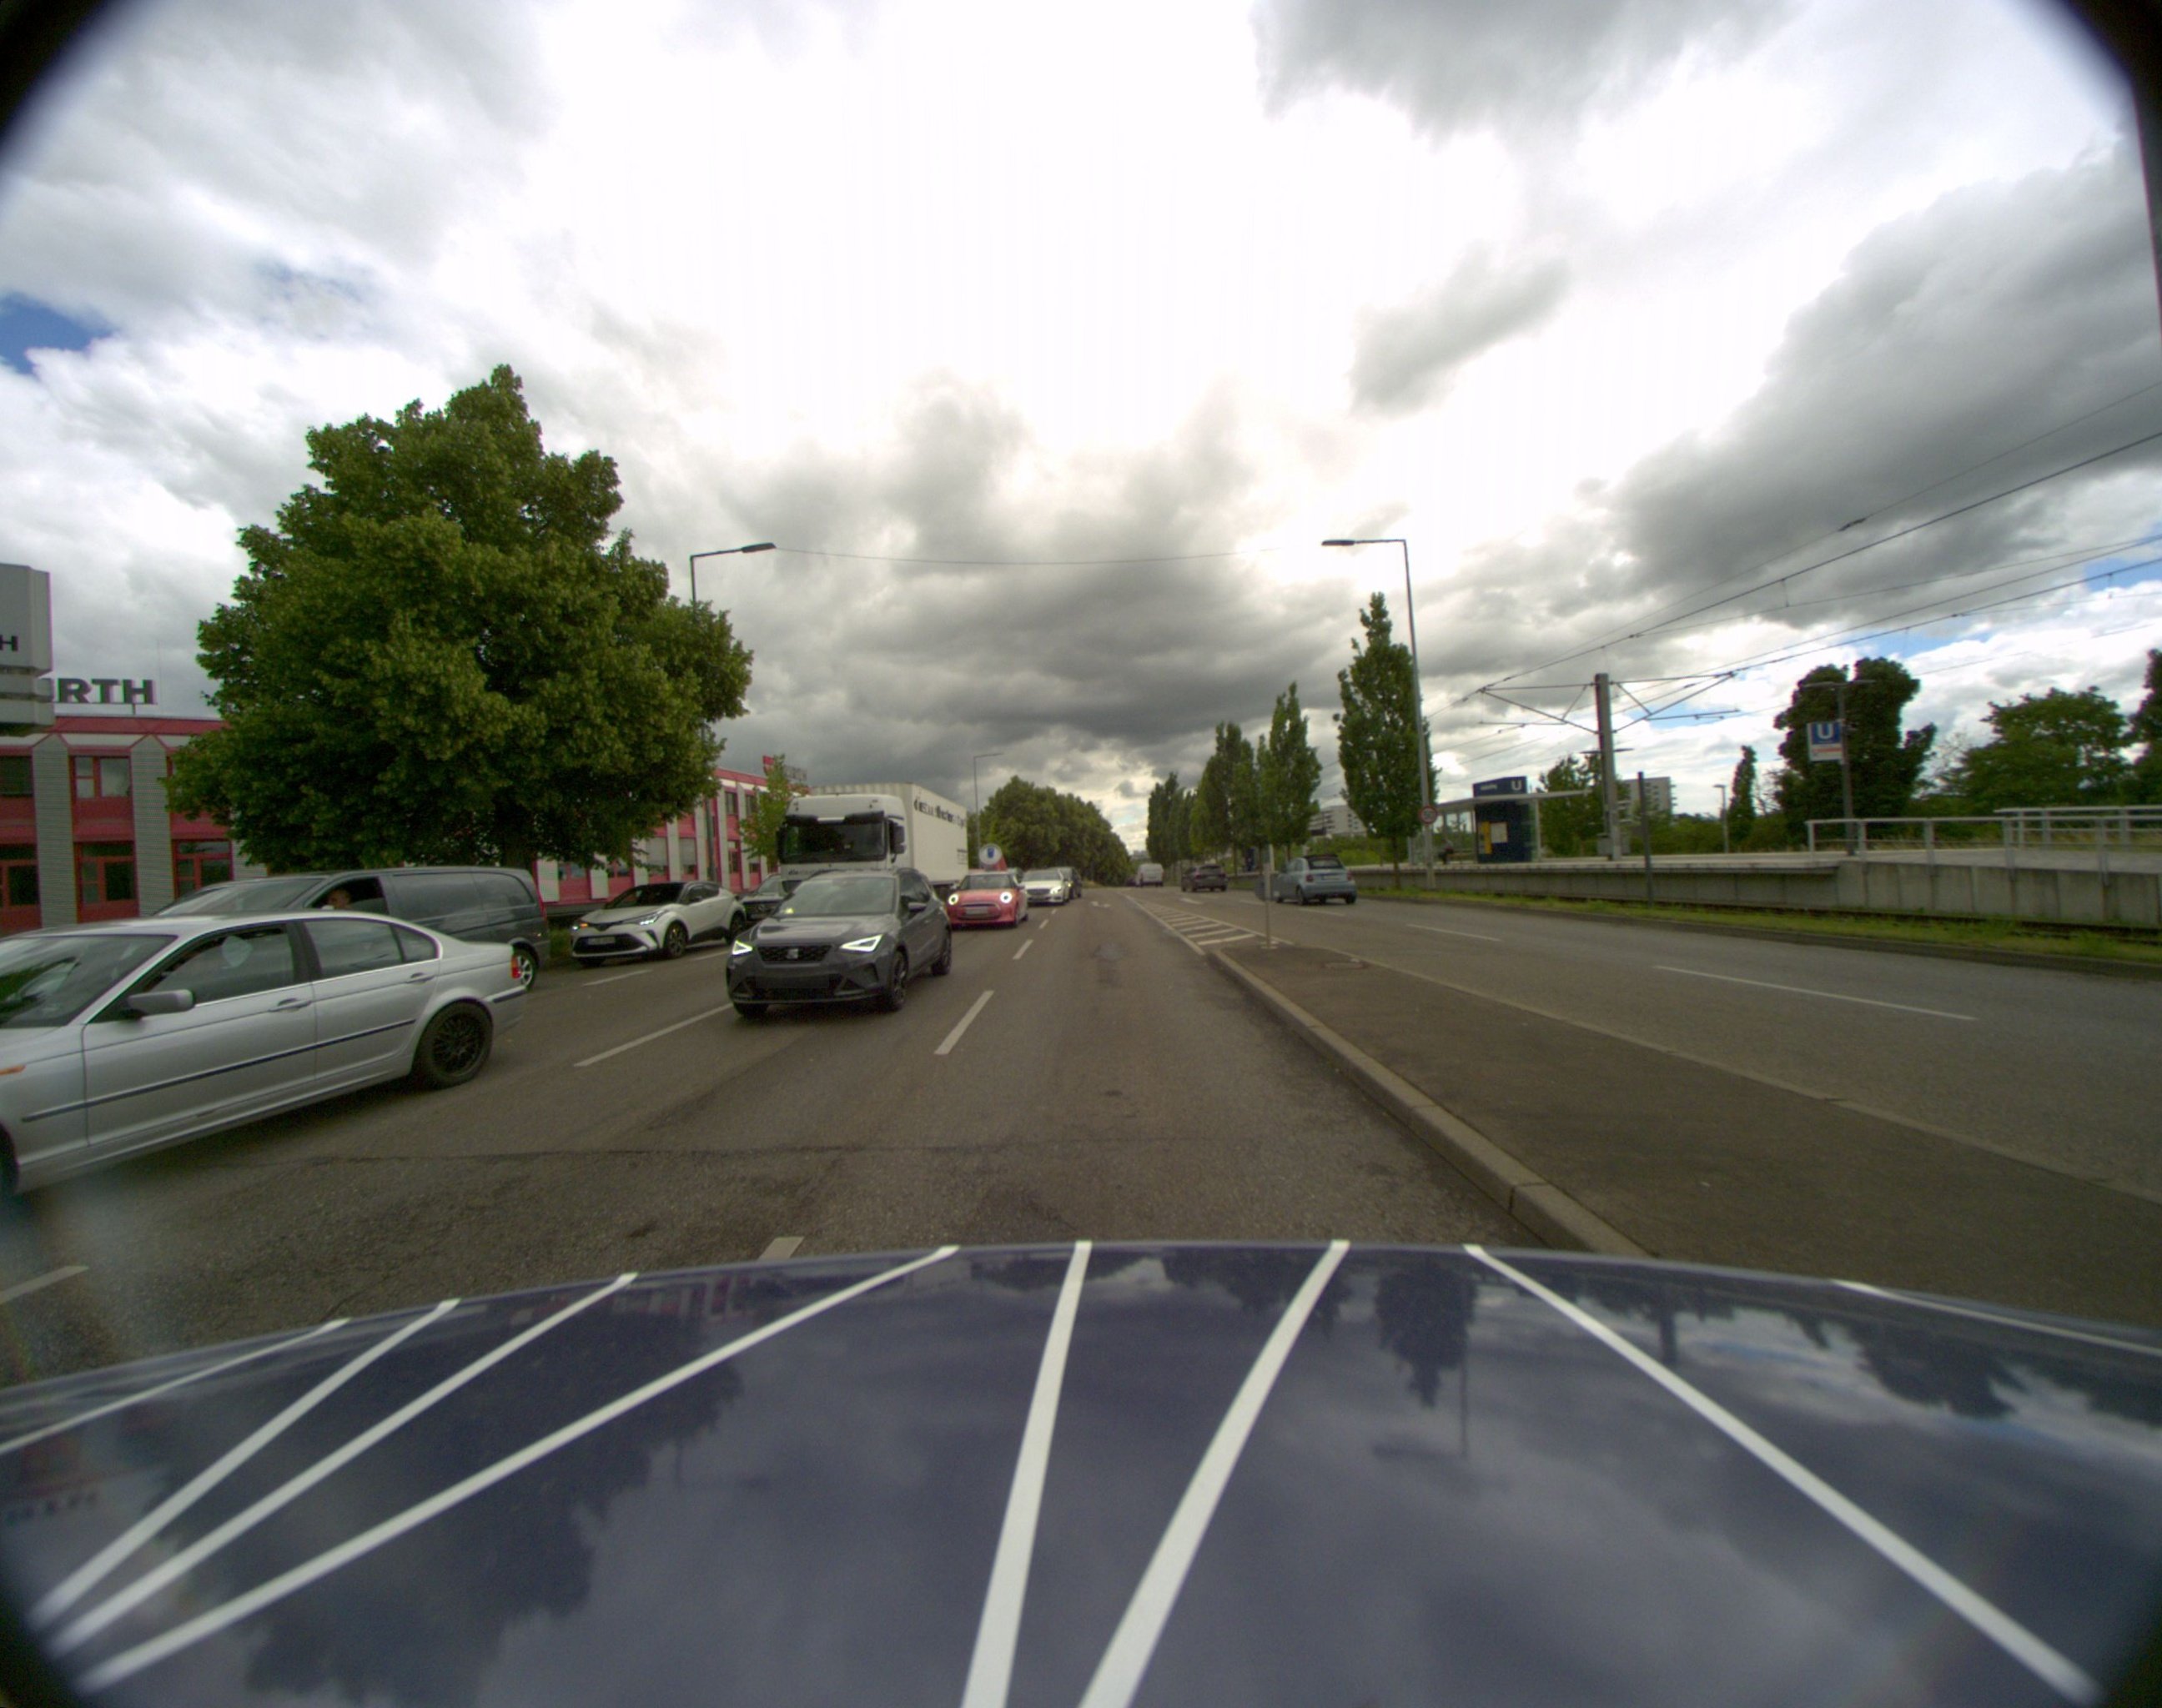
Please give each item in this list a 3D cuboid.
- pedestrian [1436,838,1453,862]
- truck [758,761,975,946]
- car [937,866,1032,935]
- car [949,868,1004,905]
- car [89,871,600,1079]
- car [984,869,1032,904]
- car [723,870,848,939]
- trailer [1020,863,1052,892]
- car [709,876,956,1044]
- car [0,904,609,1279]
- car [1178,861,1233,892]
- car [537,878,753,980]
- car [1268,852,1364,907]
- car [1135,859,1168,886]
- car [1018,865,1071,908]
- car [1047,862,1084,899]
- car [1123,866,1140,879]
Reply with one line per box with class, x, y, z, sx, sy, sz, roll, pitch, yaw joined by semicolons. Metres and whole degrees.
pedestrian;17.568;-0.191;36.734;0.601;1.148;0.447;-2;1;1
truck;-5.325;0.009;21.425;2.809;3.880;10.182;-2;0;2
car;-2.367;1.124;19.533;1.825;1.497;3.495;-2;0;2
car;-4.721;1.435;35.004;1.851;1.521;4.377;-2;-1;0
car;-8.711;1.242;9.791;1.763;1.764;4.675;-6;0;2
car;-3.785;1.657;39.984;1.797;1.521;4.219;-2;1;4
car;-8.445;1.377;22.150;1.865;1.648;4.209;-4;-1;1
trailer;-3.032;1.590;52.168;1.775;1.650;3.995;-2;2;1
car;-2.688;1.068;9.179;1.628;1.484;3.838;-2;-1;1
car;-5.631;1.219;5.429;1.750;1.374;4.290;-2;0;1
car;6.545;1.140;40.342;1.876;1.416;4.430;-2;1;-4
car;-8.594;1.386;15.476;1.844;1.507;4.106;-6;0;1
car;7.349;0.743;24.124;1.761;1.519;3.599;-2;1;-3
car;5.801;1.460;63.033;1.920;1.953;5.371;-2;1;-3
car;-1.401;1.249;30.630;1.804;1.403;4.316;-2;1;1
car;-0.699;1.235;36.835;1.669;1.589;3.996;-2;1;0
car;6.042;2.168;91.517;1.700;1.440;3.660;-2;0;0
